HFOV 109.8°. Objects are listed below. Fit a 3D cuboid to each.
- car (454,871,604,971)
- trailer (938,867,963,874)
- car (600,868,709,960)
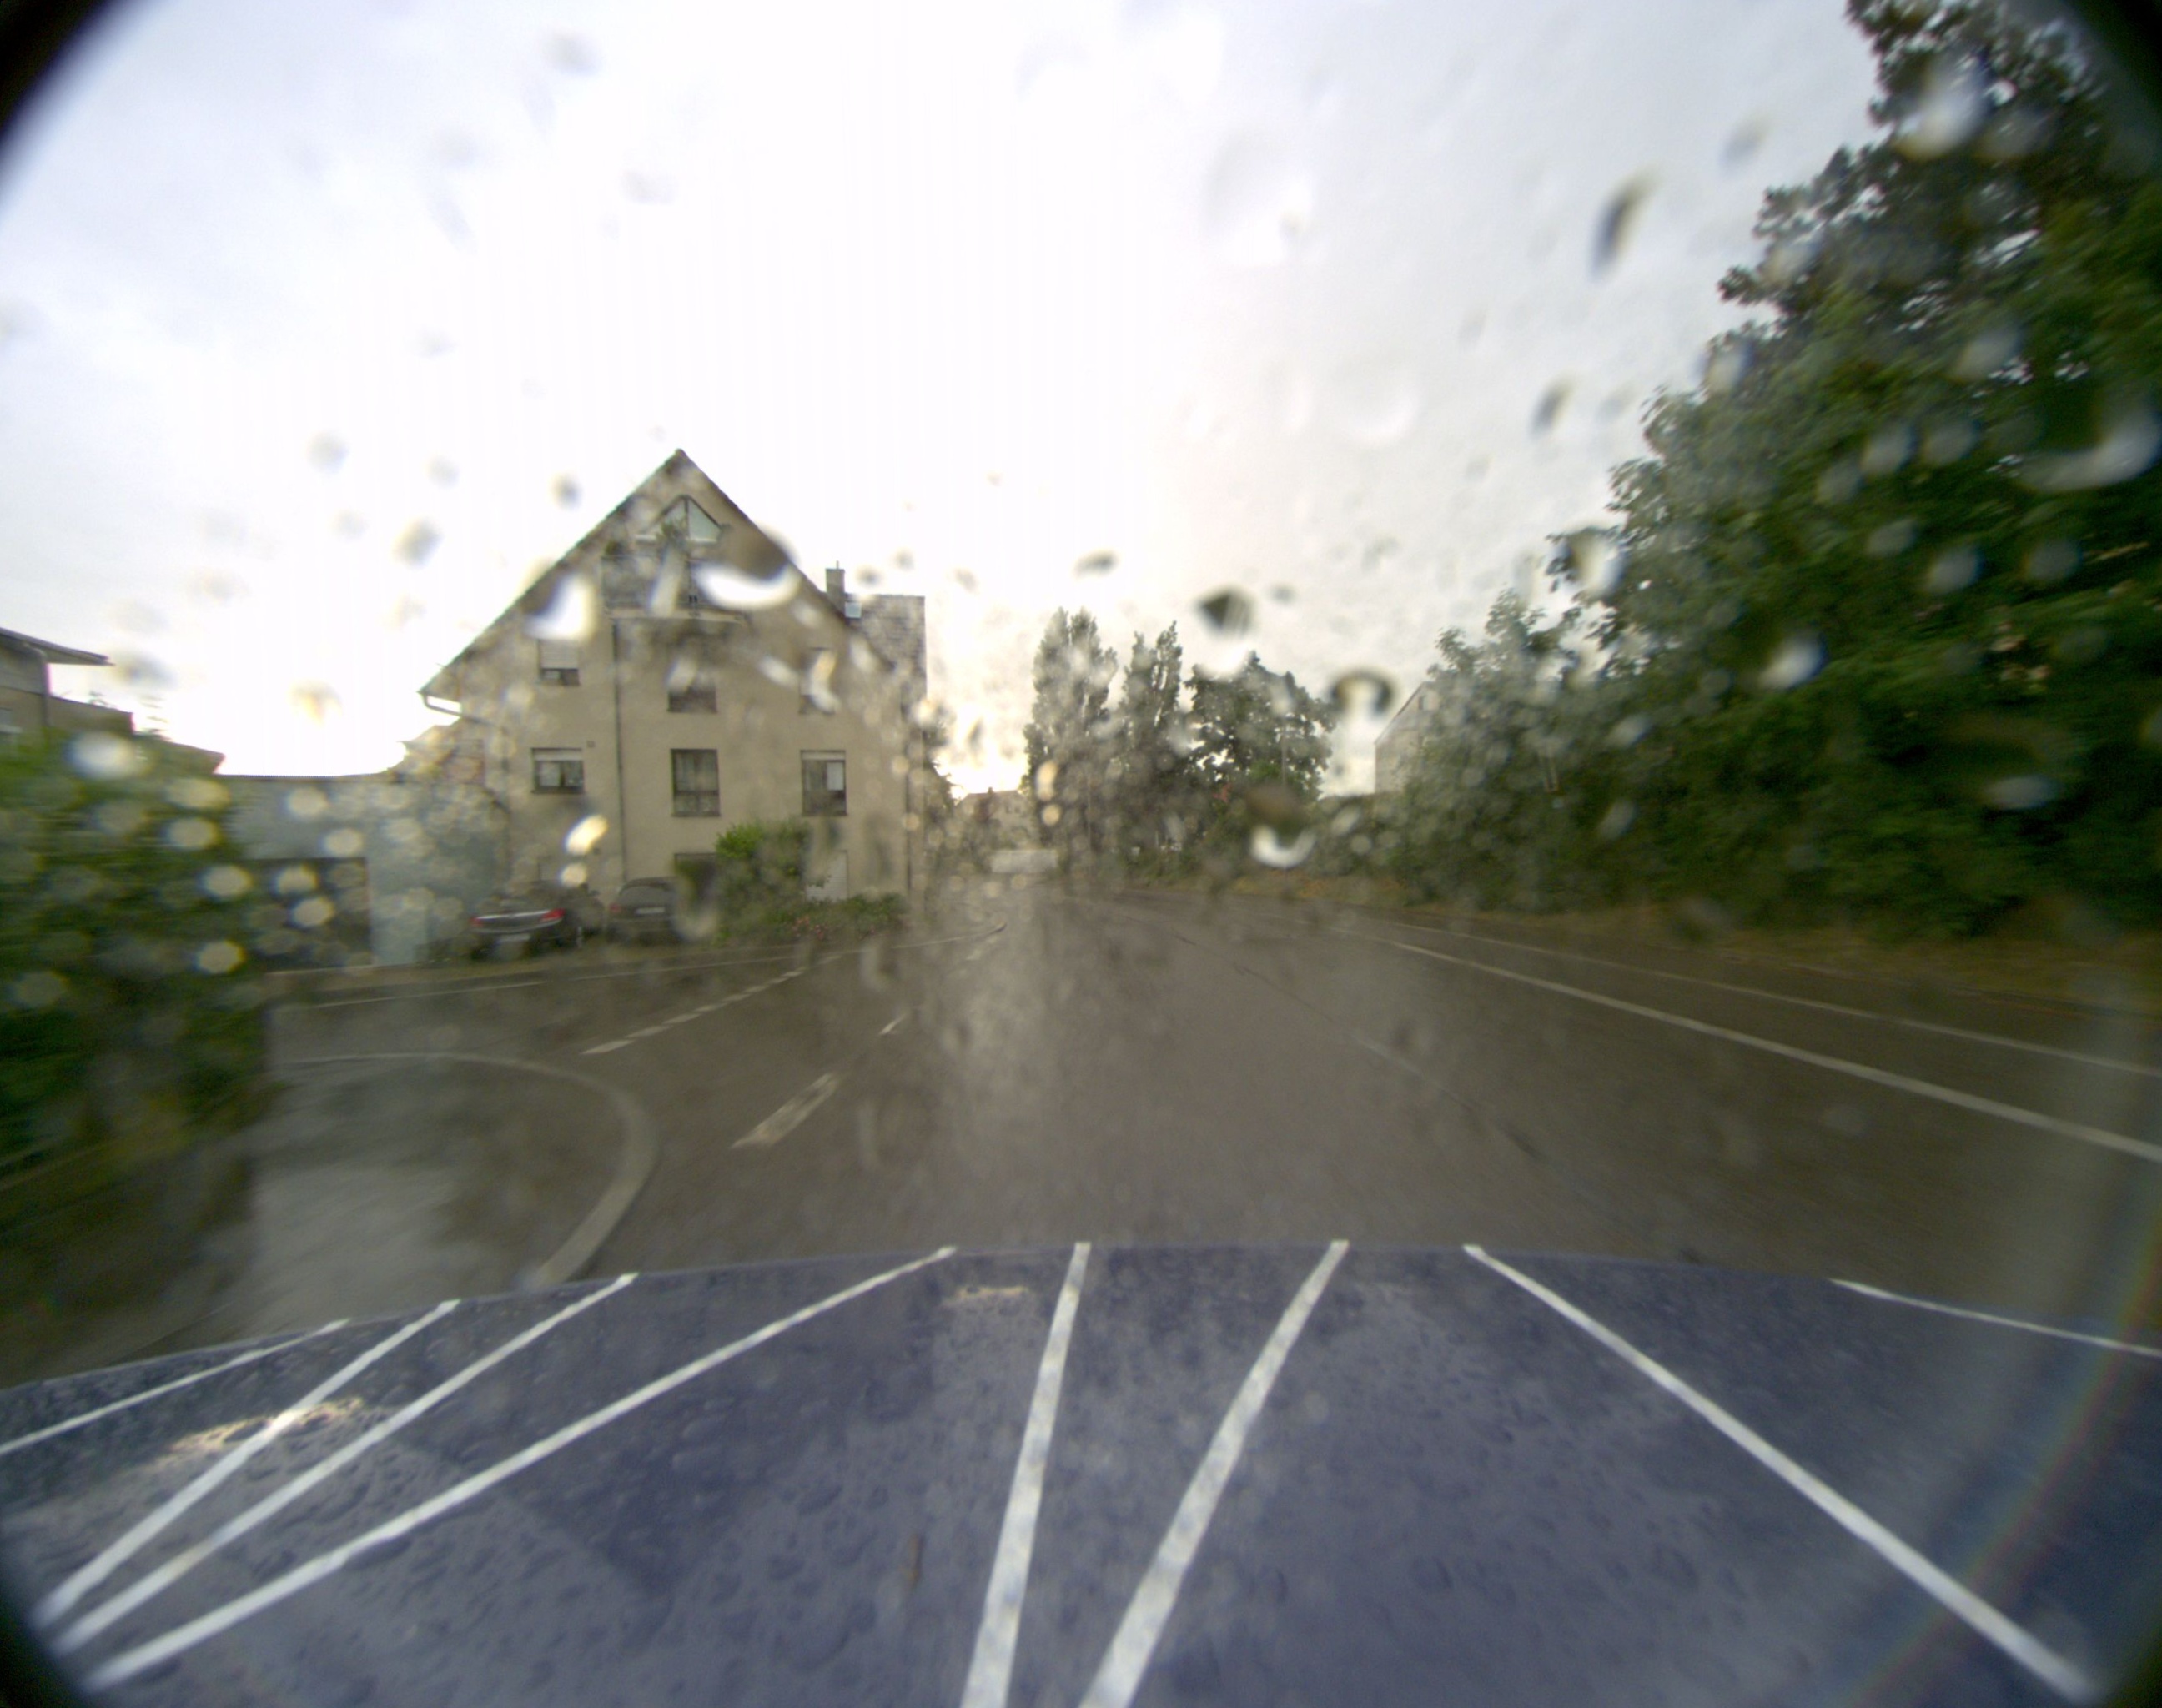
[{"bbox_3d":[-11.541,1.301,16.172,1.726,1.401,3.759,-3,6,-24],"label":"car"},{"bbox_3d":[-14.493,1.849,84.458,1.744,0.754,2.818,-2,0,-34],"label":"trailer"},{"bbox_3d":[-9.528,1.235,17.241,1.726,1.401,3.759,-3,6,-24],"label":"car"}]
